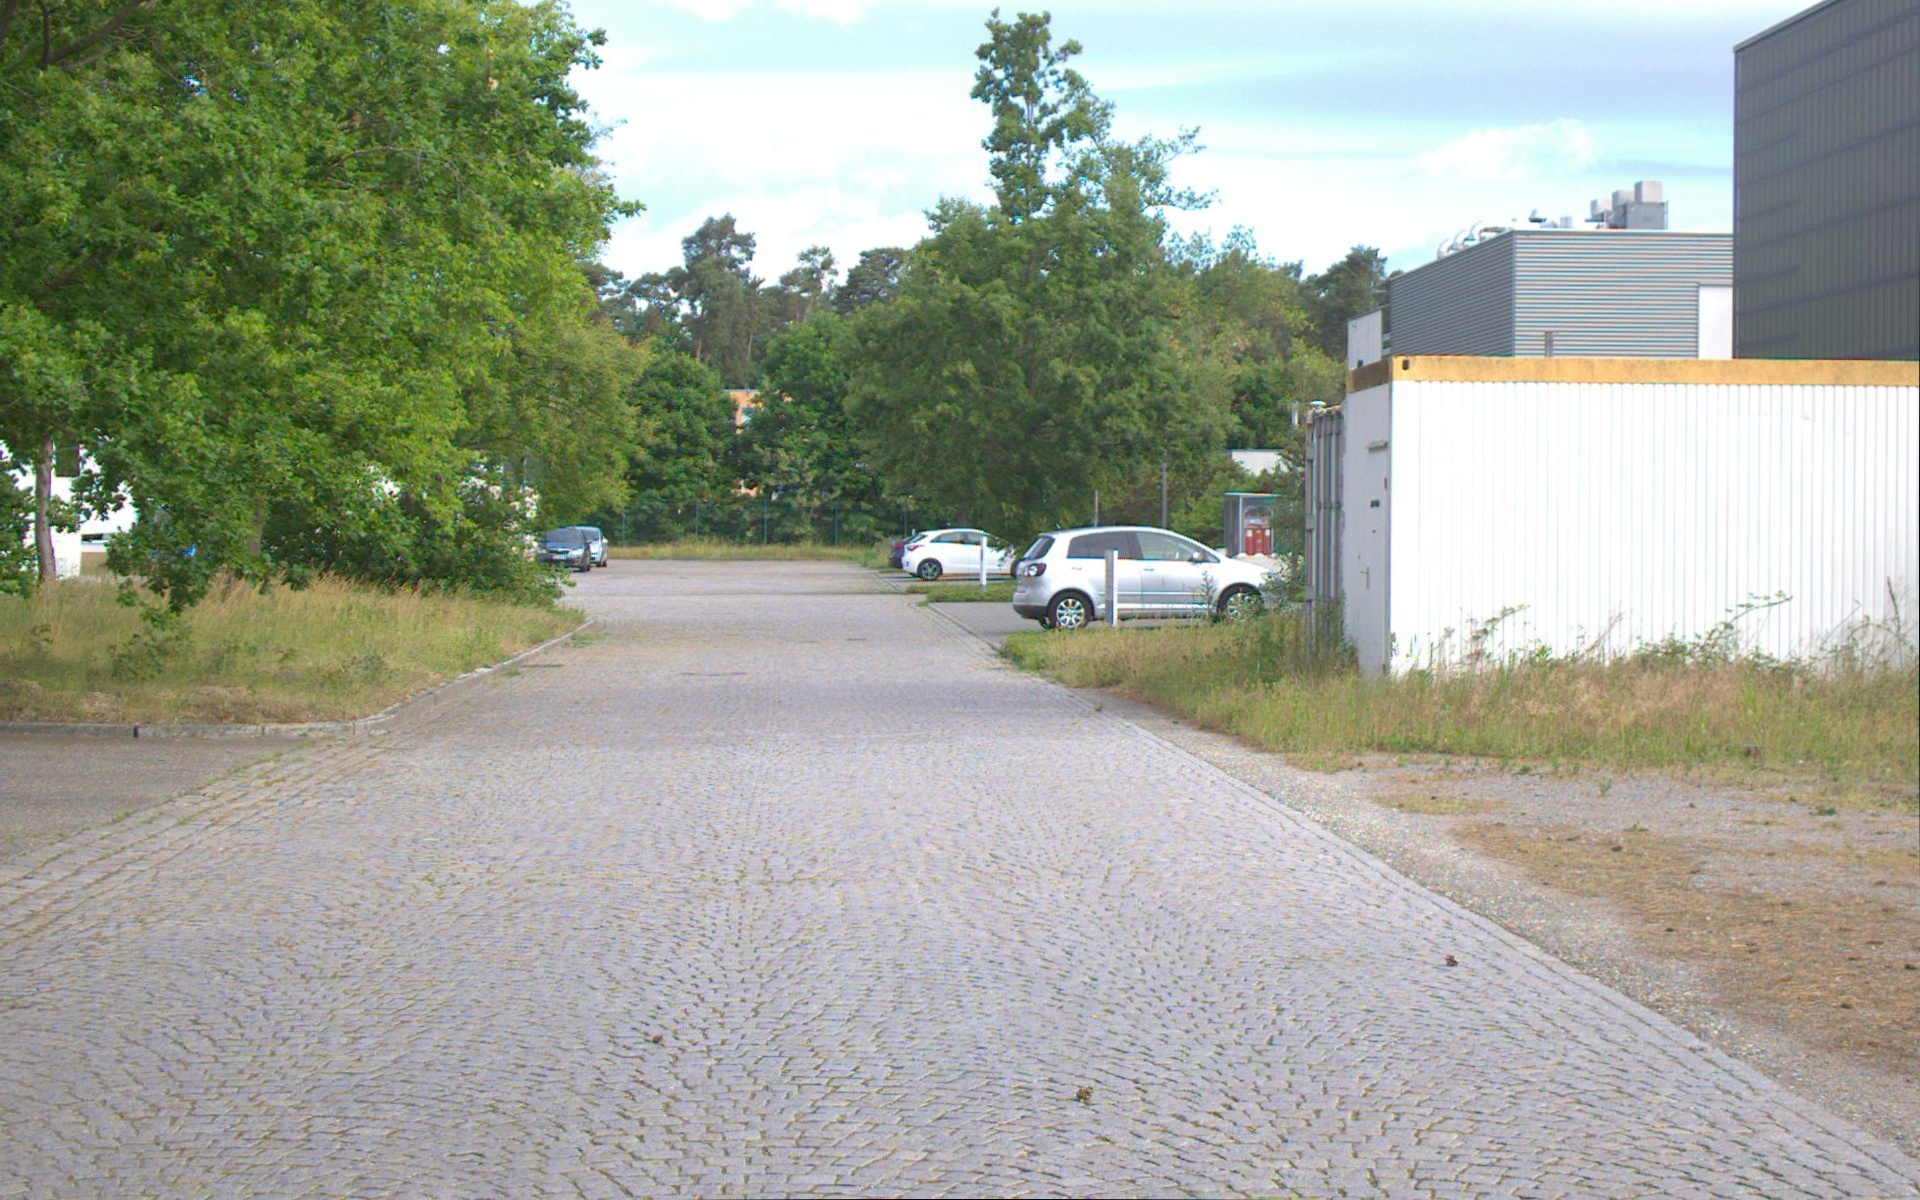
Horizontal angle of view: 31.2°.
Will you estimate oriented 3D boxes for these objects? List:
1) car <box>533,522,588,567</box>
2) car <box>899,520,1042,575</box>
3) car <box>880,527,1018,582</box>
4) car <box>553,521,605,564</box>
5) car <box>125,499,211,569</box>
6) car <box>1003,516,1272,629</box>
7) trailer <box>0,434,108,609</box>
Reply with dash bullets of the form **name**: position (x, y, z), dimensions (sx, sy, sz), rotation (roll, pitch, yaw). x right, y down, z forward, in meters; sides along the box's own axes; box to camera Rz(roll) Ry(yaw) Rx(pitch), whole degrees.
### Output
- **car**: position (-13.516, -1.887, 116.511), dimensions (1.734, 1.464, 4.046), rotation (0, 1, -5)
- **car**: position (0.286, -1.503, 98.100), dimensions (4.025, 1.496, 1.548), rotation (1, 1, -2)
- **car**: position (-0.352, -1.373, 103.635), dimensions (3.986, 1.596, 1.729), rotation (0, 1, -5)
- **car**: position (-13.926, -2.099, 125.858), dimensions (1.803, 1.529, 4.001), rotation (0, 1, -5)
- **car**: position (-23.923, -1.995, 103.972), dimensions (1.925, 2.040, 4.601), rotation (0, 1, -5)
- **car**: position (2.657, -0.420, 52.013), dimensions (3.849, 1.649, 1.687), rotation (0, 1, -5)
- **trailer**: position (-18.360, -1.472, 63.668), dimensions (3.158, 3.057, 8.785), rotation (1, 1, -1)
